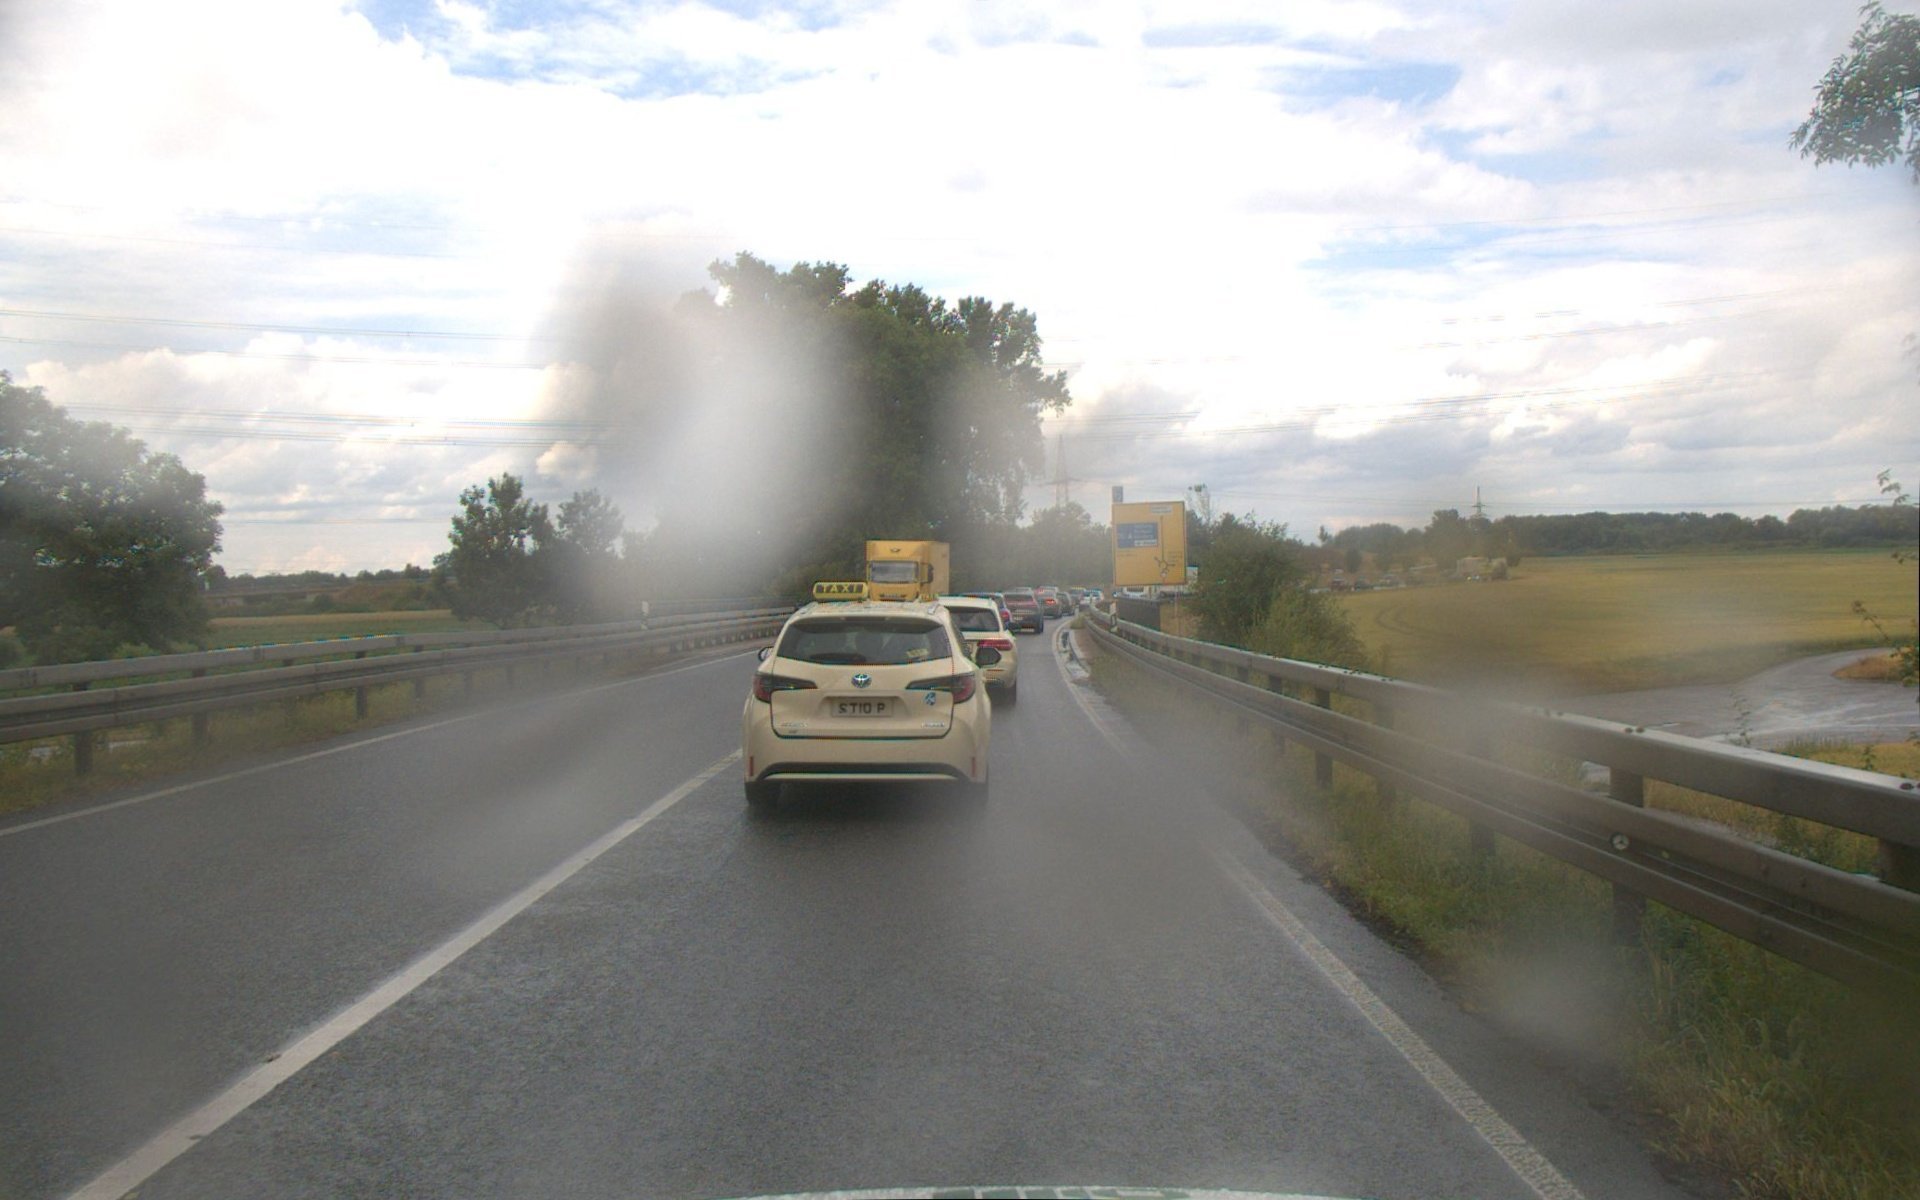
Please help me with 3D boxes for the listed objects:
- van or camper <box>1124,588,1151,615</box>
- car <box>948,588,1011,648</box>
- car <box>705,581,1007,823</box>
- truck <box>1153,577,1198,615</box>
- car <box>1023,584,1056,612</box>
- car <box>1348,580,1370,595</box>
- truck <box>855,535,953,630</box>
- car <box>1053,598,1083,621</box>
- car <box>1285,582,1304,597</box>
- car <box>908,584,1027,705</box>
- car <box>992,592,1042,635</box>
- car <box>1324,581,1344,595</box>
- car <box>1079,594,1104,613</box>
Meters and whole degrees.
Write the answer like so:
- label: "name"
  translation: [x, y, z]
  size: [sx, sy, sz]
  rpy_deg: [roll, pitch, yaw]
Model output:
- label: "van or camper"
  translation: [15.338, 0.139, 142.772]
  size: [1.951, 2.293, 4.003]
  rpy_deg: [1, 0, 12]
- label: "car"
  translation: [0.530, 0.453, 42.708]
  size: [1.474, 1.462, 3.357]
  rpy_deg: [1, 0, 3]
- label: "car"
  translation: [-0.622, 0.659, 12.857]
  size: [1.866, 1.564, 4.163]
  rpy_deg: [0, 0, 3]
- label: "truck"
  translation: [21.538, -0.364, 164.989]
  size: [3.074, 3.624, 7.524]
  rpy_deg: [0, 0, 18]
- label: "car"
  translation: [4.206, -0.100, 87.512]
  size: [1.625, 1.434, 3.906]
  rpy_deg: [0, -1, 4]
- label: "car"
  translation: [57.150, -1.800, 236.835]
  size: [1.957, 2.049, 3.991]
  rpy_deg: [0, 0, 30]
- label: "truck"
  translation: [-2.109, -0.629, 66.057]
  size: [2.712, 3.489, 9.193]
  rpy_deg: [1, 0, 5]
- label: "car"
  translation: [6.621, 0.564, 101.305]
  size: [1.451, 1.332, 3.480]
  rpy_deg: [0, 0, 10]
- label: "car"
  translation: [43.285, -1.305, 214.019]
  size: [1.880, 1.870, 4.001]
  rpy_deg: [0, 0, 19]
- label: "car"
  translation: [0.169, 0.590, 23.950]
  size: [1.545, 1.600, 3.682]
  rpy_deg: [0, 0, 3]
- label: "car"
  translation: [2.072, 0.452, 59.268]
  size: [1.630, 1.489, 3.479]
  rpy_deg: [0, 0, 4]
- label: "car"
  translation: [52.042, -1.601, 229.945]
  size: [1.783, 1.870, 3.984]
  rpy_deg: [0, 0, 27]
- label: "car"
  translation: [9.440, 0.250, 118.743]
  size: [1.451, 1.332, 3.480]
  rpy_deg: [0, 0, 10]
